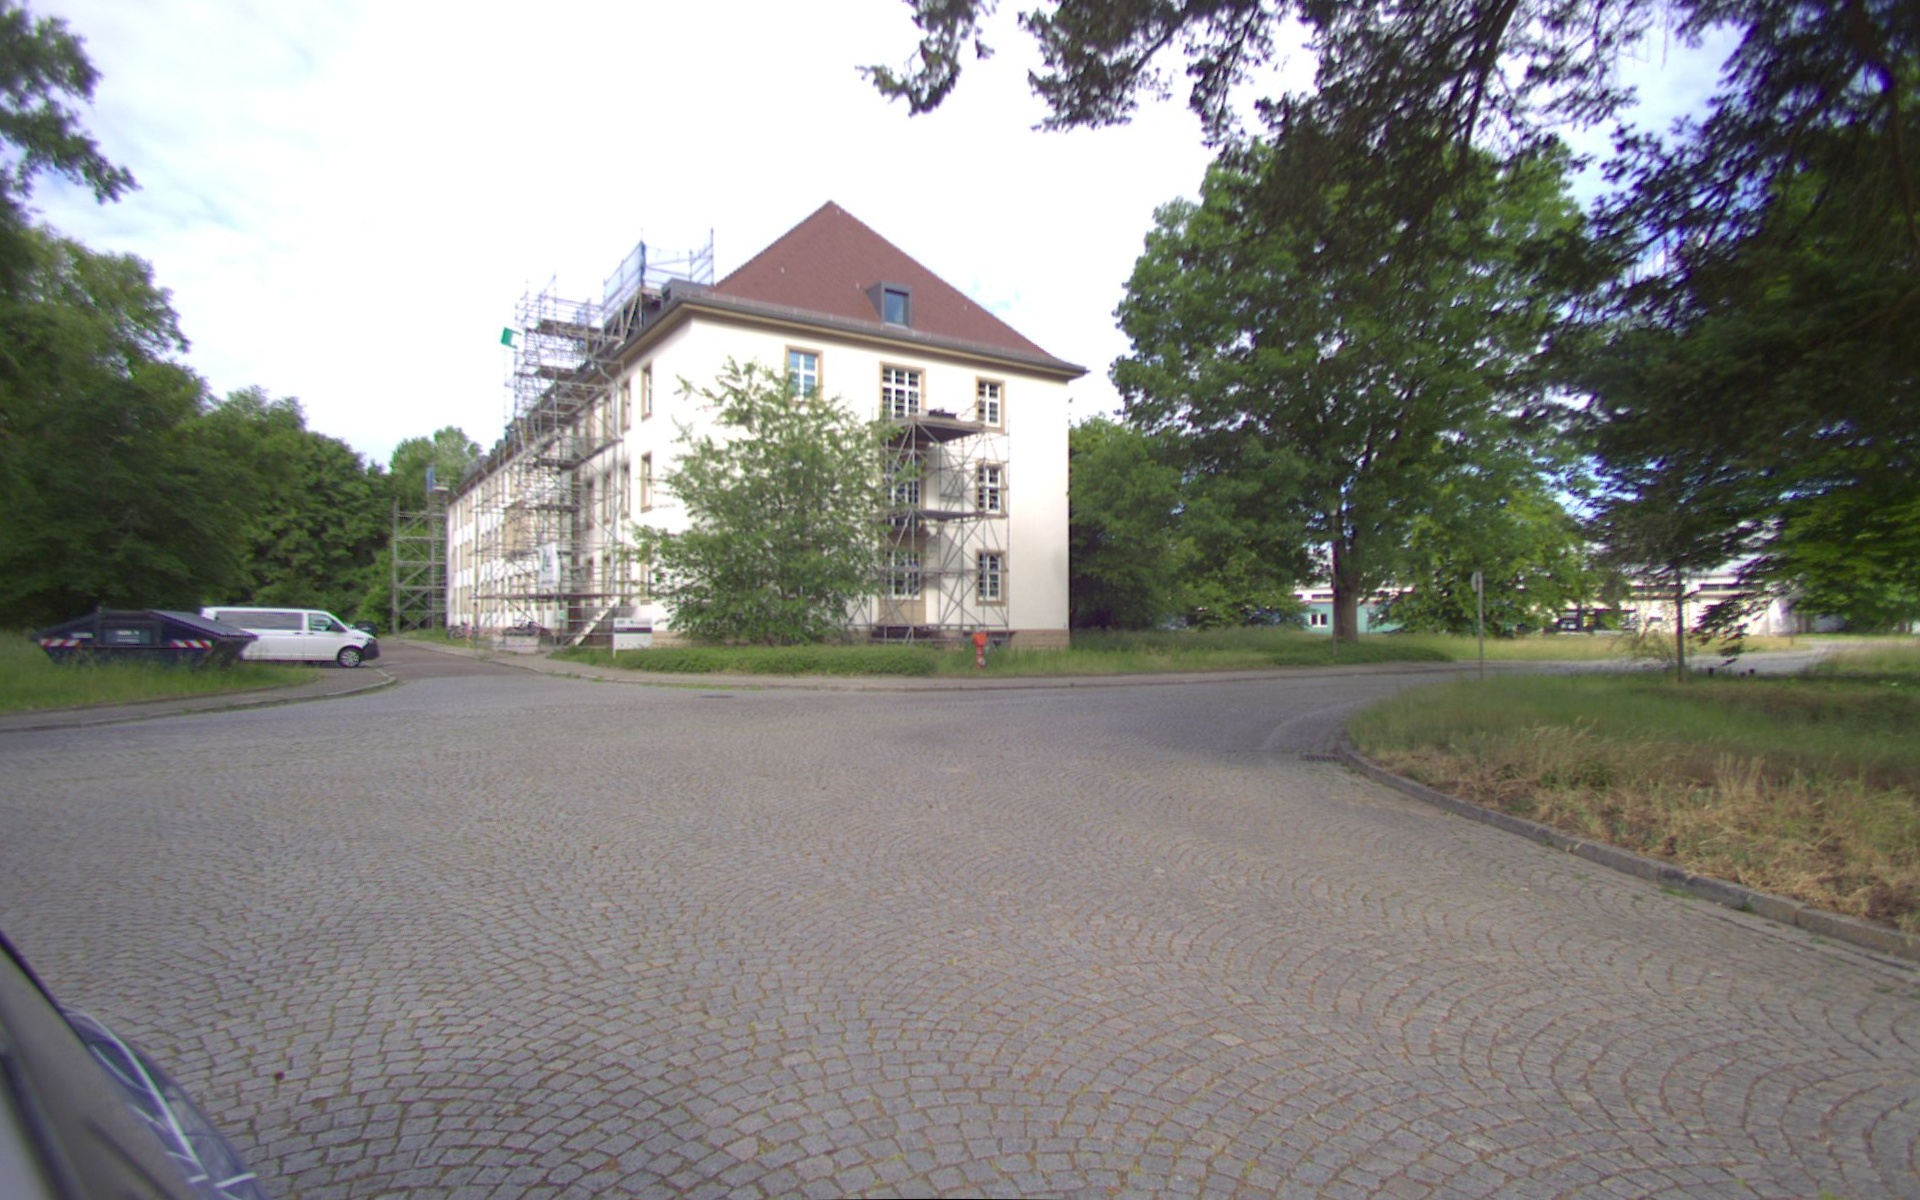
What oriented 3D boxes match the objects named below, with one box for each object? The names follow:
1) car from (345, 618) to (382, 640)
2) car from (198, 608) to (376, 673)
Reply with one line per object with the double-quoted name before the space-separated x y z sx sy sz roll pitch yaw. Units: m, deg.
"car" -54.615 2.642 92.608 1.998 1.941 4.003 1 -2 -44
"car" -22.464 1.314 33.897 4.838 2.010 2.005 1 -2 -36
